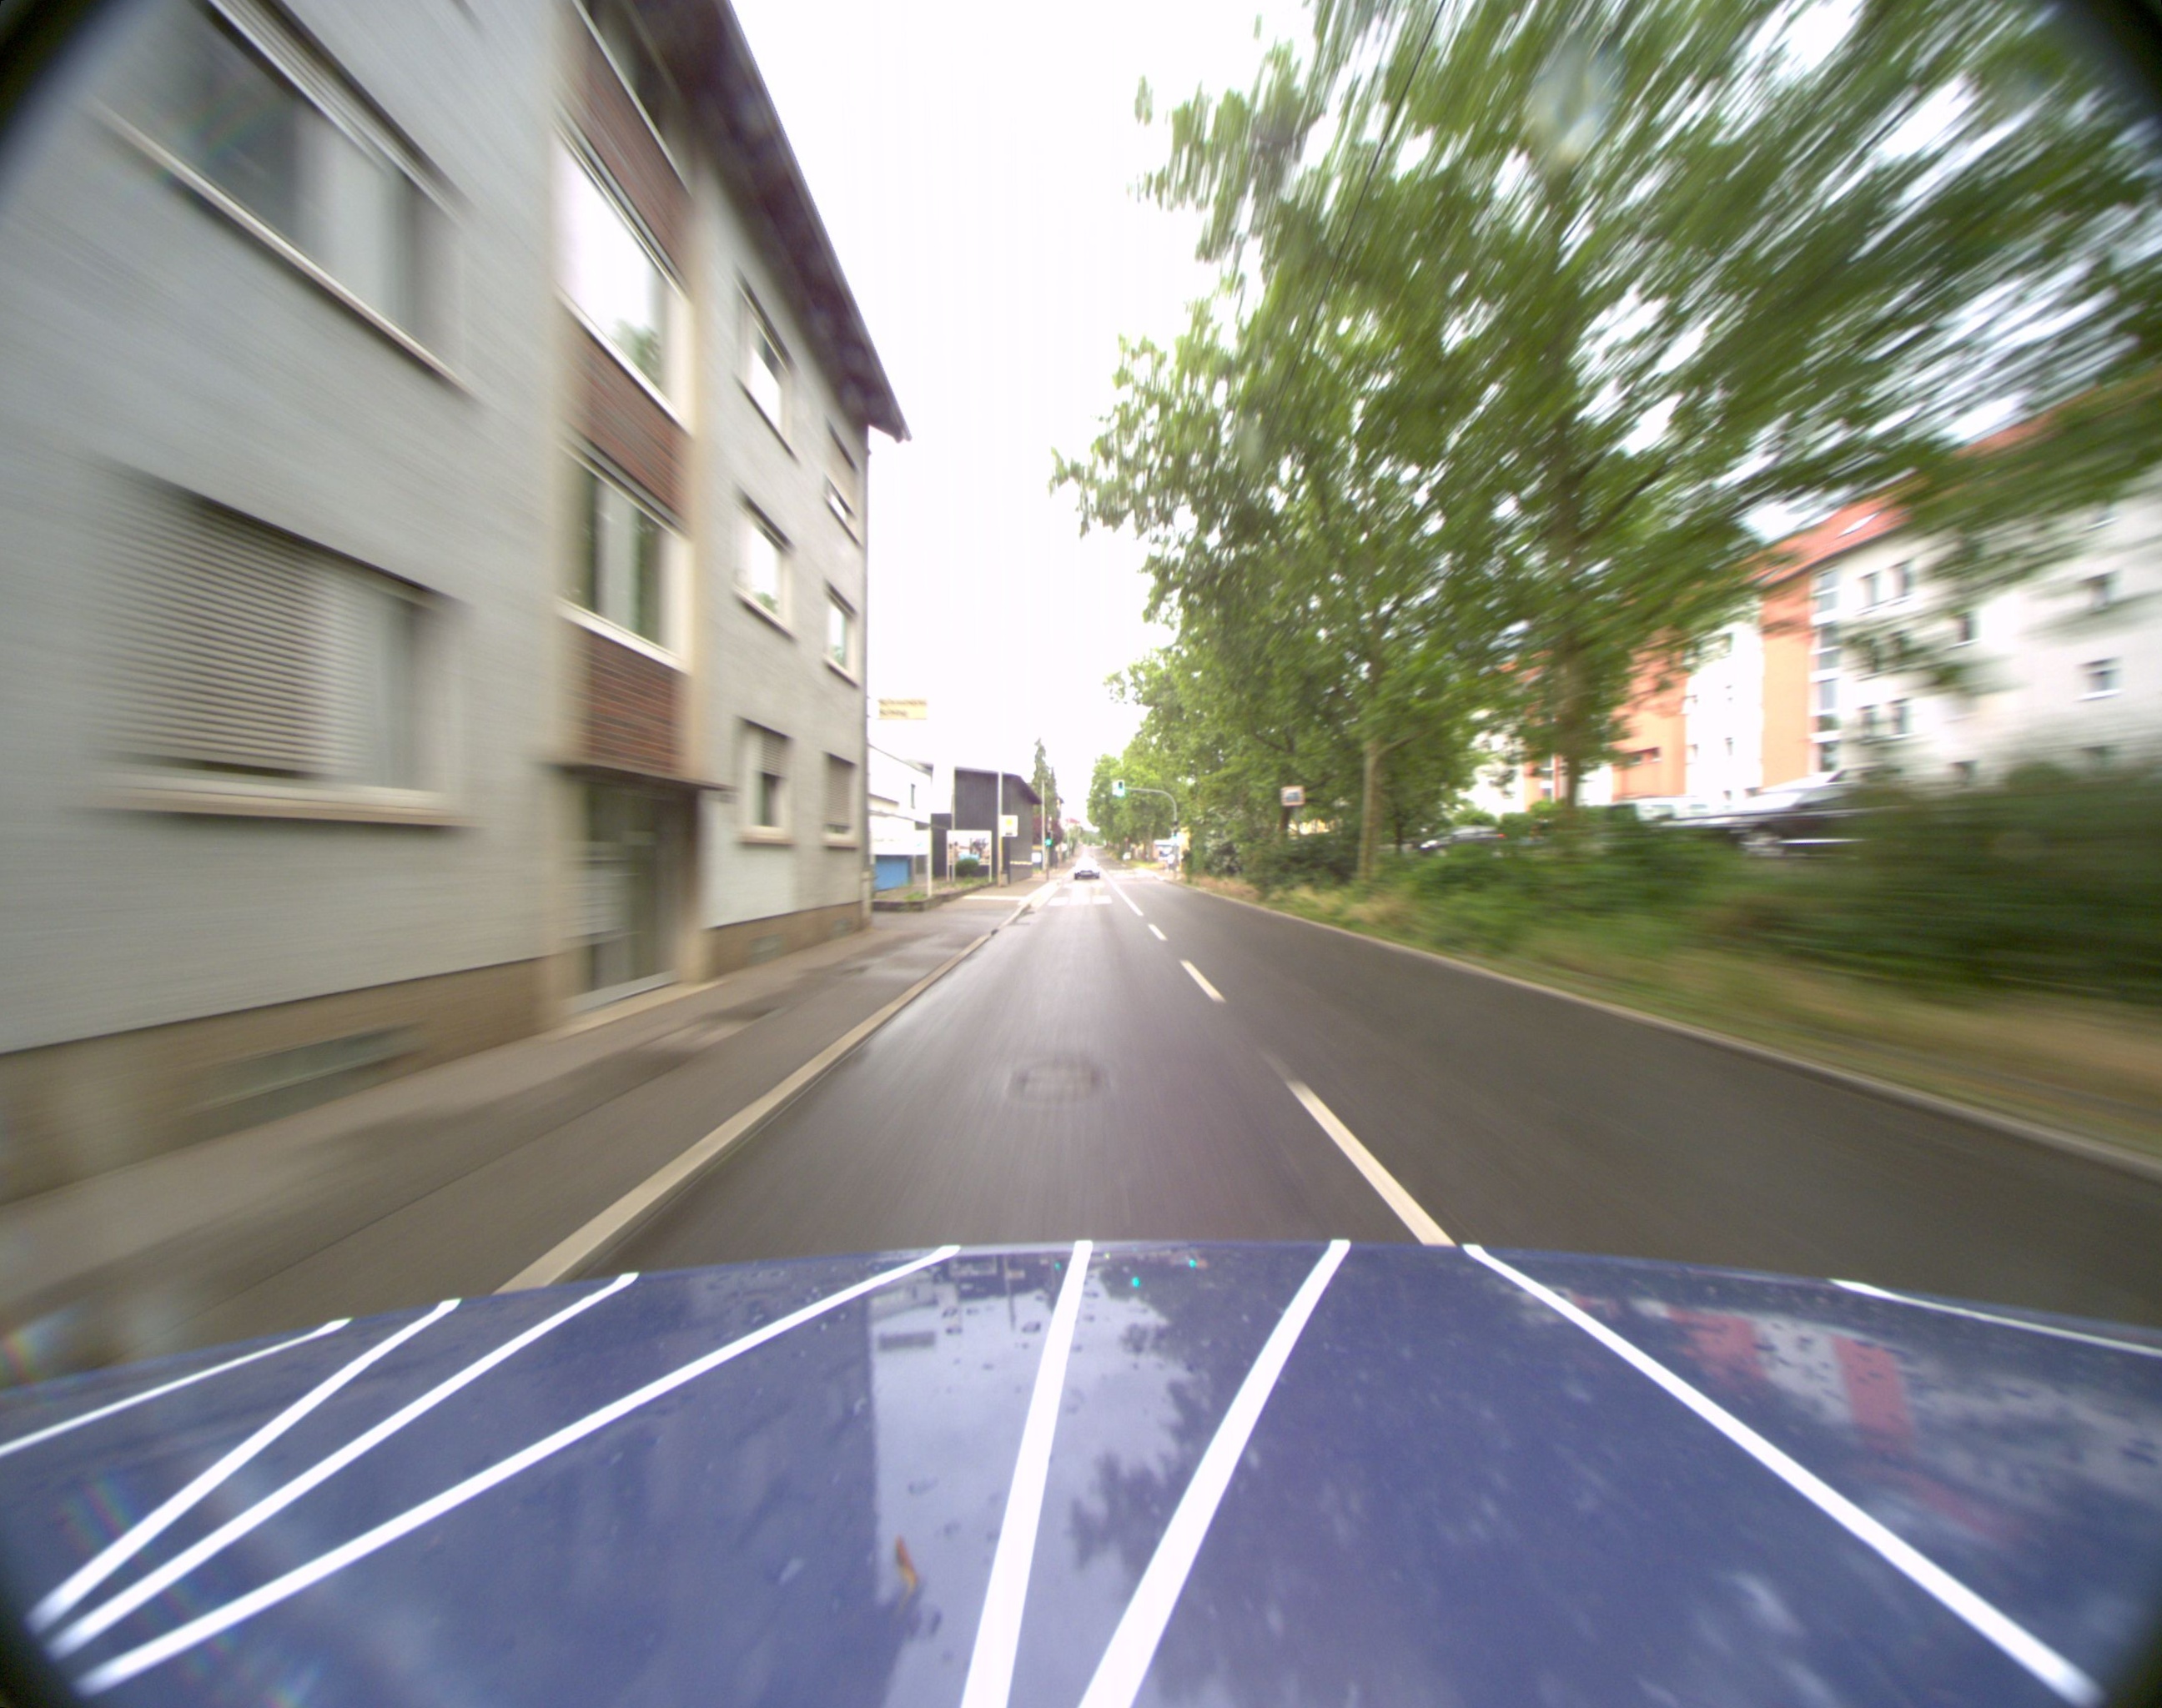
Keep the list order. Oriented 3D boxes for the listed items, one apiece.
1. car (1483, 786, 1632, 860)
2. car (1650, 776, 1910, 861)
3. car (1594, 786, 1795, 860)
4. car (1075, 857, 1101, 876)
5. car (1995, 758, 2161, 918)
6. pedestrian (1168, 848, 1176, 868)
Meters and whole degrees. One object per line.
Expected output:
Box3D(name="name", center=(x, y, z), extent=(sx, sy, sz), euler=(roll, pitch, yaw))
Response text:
Box3D(name="car", center=(14.122, -0.851, 22.831), extent=(1.998, 2.002, 4.000), euler=(-1, 0, 1))
Box3D(name="car", center=(15.480, -0.756, 17.013), extent=(3.997, 1.784, 1.959), euler=(0, 0, 1))
Box3D(name="car", center=(15.687, -0.773, 19.567), extent=(3.801, 1.679, 1.738), euler=(-2, 1, -2))
Box3D(name="car", center=(0.480, 0.872, 54.696), extent=(1.692, 1.334, 3.999), euler=(0, 0, -2))
Box3D(name="car", center=(15.605, -0.204, 10.214), extent=(3.995, 2.002, 1.957), euler=(0, 0, 7))
Box3D(name="pedestrian", center=(7.586, 0.363, 63.351), extent=(0.648, 1.674, 0.631), euler=(0, 1, 1))
